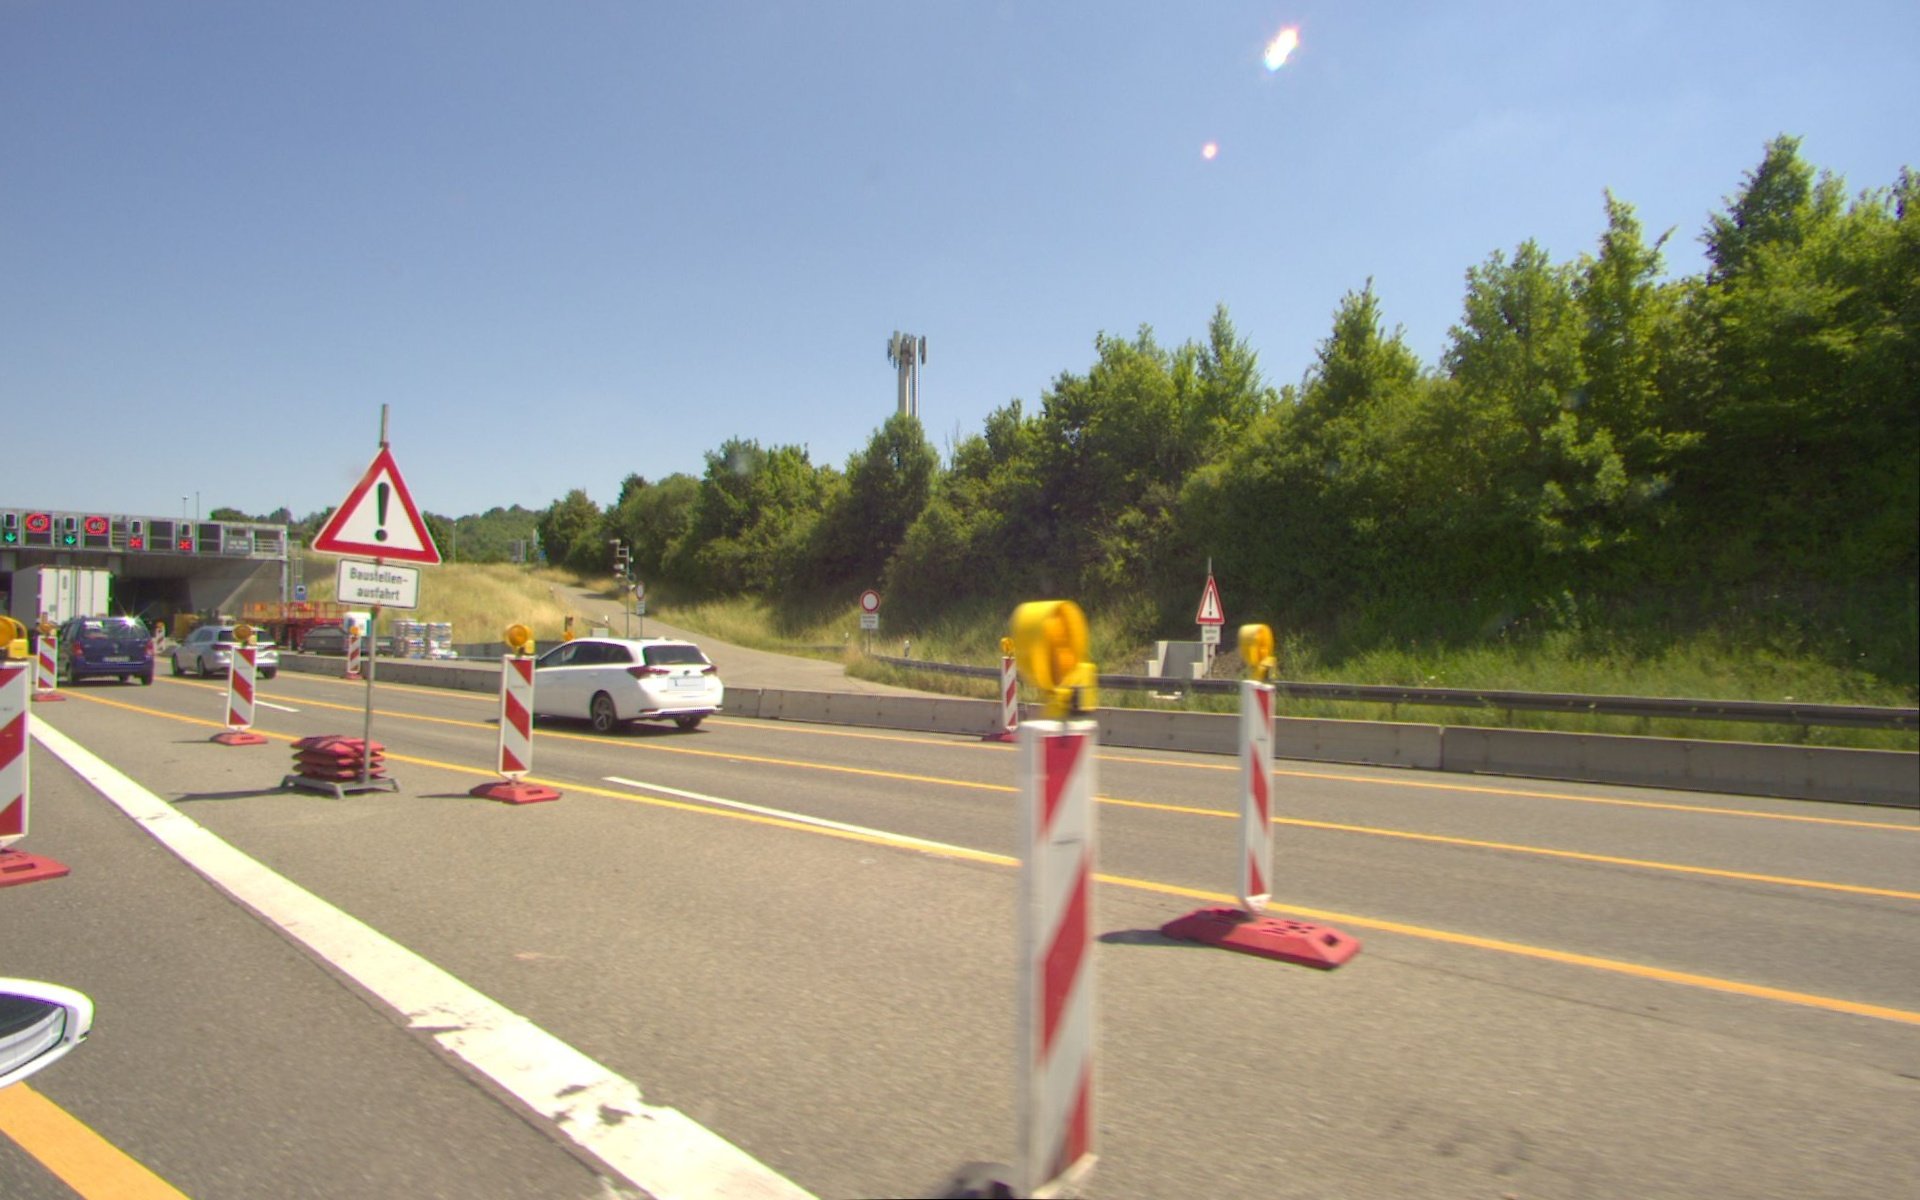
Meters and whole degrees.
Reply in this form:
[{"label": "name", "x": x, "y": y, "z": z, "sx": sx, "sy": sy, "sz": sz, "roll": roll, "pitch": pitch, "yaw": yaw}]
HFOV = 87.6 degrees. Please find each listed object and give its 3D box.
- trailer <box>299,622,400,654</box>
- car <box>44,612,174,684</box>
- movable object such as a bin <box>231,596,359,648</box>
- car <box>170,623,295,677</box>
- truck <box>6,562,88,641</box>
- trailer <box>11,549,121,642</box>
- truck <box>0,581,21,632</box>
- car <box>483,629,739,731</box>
[{"label": "trailer", "x": -32.899, "y": 1.996, "z": 53.913, "sx": 6.156, "sy": 1.589, "sz": 2.585, "roll": -1, "pitch": 0, "yaw": 37}, {"label": "car", "x": -21.701, "y": 1.199, "z": 25.475, "sx": 4.599, "sy": 1.663, "sz": 1.807, "roll": -1, "pitch": -3, "yaw": 41}, {"label": "movable object such as a bin", "x": -43.085, "y": 1.391, "z": 64.511, "sx": 14.533, "sy": 3.050, "sz": 3.096, "roll": -1, "pitch": 0, "yaw": 41}, {"label": "car", "x": -21.286, "y": 1.432, "z": 29.228, "sx": 4.596, "sy": 1.483, "sz": 1.808, "roll": -1, "pitch": -3, "yaw": 39}, {"label": "truck", "x": -50.318, "y": 0.164, "z": 55.135, "sx": 5.861, "sy": 4.084, "sz": 2.732, "roll": -1, "pitch": -3, "yaw": 42}, {"label": "trailer", "x": -45.233, "y": -0.001, "z": 50.427, "sx": 13.942, "sy": 4.113, "sz": 2.719, "roll": -2, "pitch": -3, "yaw": 43}, {"label": "truck", "x": -92.193, "y": 0.761, "z": 94.589, "sx": 16.350, "sy": 4.388, "sz": 3.387, "roll": -2, "pitch": -4, "yaw": 41}, {"label": "car", "x": -5.906, "y": 1.305, "z": 16.718, "sx": 4.594, "sy": 1.482, "sz": 1.810, "roll": -3, "pitch": -4, "yaw": 37}]
